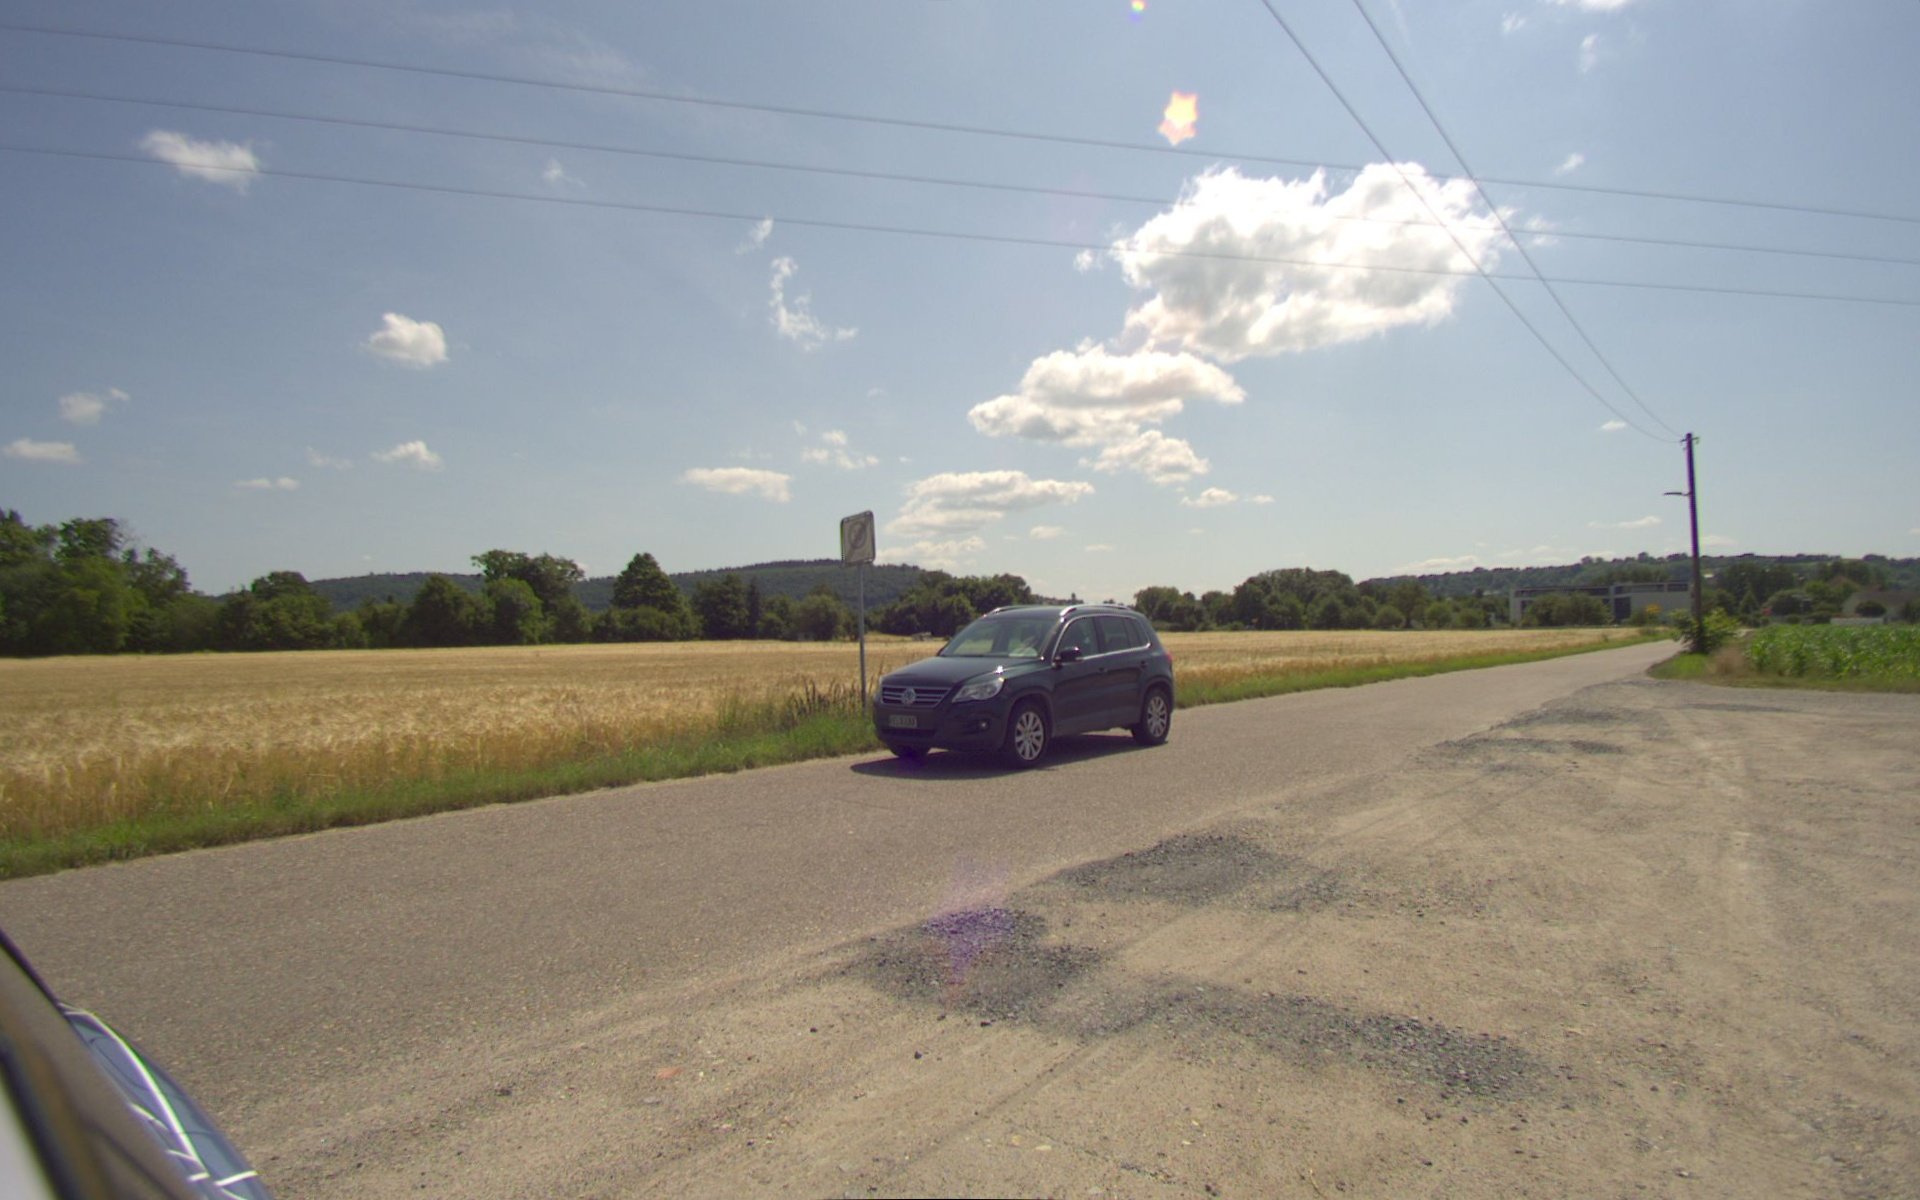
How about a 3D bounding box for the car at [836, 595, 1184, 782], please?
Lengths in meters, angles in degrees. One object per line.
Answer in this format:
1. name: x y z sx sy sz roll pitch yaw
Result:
1. car: 0.738 0.862 11.353 1.748 1.692 4.198 -2 -2 40
